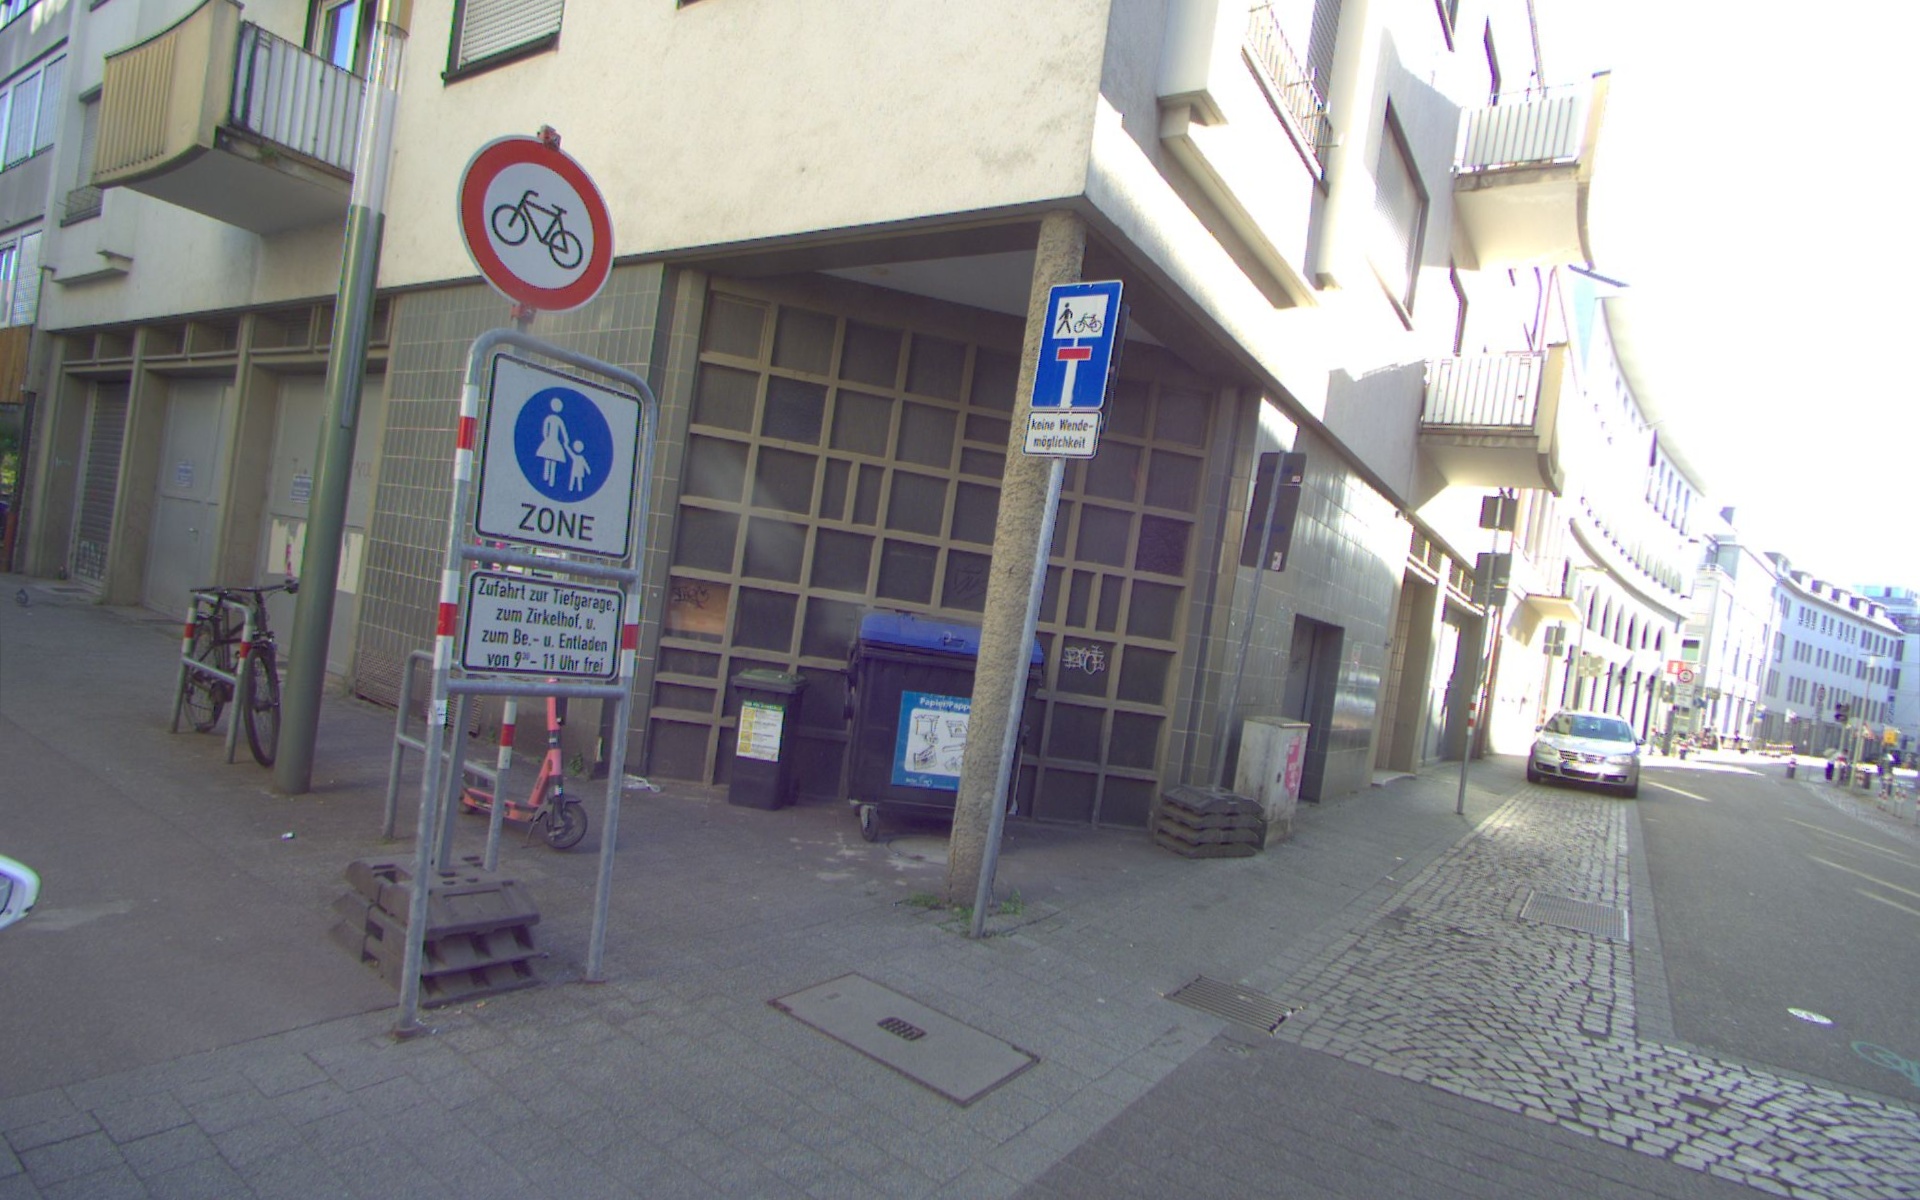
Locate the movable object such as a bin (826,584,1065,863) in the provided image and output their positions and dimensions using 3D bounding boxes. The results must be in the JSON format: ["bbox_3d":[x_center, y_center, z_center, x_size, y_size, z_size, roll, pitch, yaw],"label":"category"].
[{"bbox_3d":[-0.156,0.791,6.925,1.270,1.609,1.152,8,1,-11],"label":"movable object such as a bin"}]

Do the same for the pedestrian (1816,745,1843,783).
[{"bbox_3d":[36.529,6.876,42.273,0.649,1.458,0.594,8,1,37],"label":"pedestrian"}]

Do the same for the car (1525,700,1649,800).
[{"bbox_3d":[12.125,2.807,19.358,1.743,1.488,3.803,6,-2,35],"label":"car"}]

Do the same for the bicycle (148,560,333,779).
[{"bbox_3d":[-4.608,0.396,6.397,1.685,1.153,0.446,6,-1,40],"label":"bicycle"}]

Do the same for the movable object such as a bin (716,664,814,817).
[{"bbox_3d":[-1.358,0.962,6.984,0.533,0.935,0.512,7,1,-13],"label":"movable object such as a bin"}]

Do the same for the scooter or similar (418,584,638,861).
[{"bbox_3d":[-2.358,0.616,5.439,1.218,1.268,0.307,7,0,31],"label":"scooter or similar"}]
